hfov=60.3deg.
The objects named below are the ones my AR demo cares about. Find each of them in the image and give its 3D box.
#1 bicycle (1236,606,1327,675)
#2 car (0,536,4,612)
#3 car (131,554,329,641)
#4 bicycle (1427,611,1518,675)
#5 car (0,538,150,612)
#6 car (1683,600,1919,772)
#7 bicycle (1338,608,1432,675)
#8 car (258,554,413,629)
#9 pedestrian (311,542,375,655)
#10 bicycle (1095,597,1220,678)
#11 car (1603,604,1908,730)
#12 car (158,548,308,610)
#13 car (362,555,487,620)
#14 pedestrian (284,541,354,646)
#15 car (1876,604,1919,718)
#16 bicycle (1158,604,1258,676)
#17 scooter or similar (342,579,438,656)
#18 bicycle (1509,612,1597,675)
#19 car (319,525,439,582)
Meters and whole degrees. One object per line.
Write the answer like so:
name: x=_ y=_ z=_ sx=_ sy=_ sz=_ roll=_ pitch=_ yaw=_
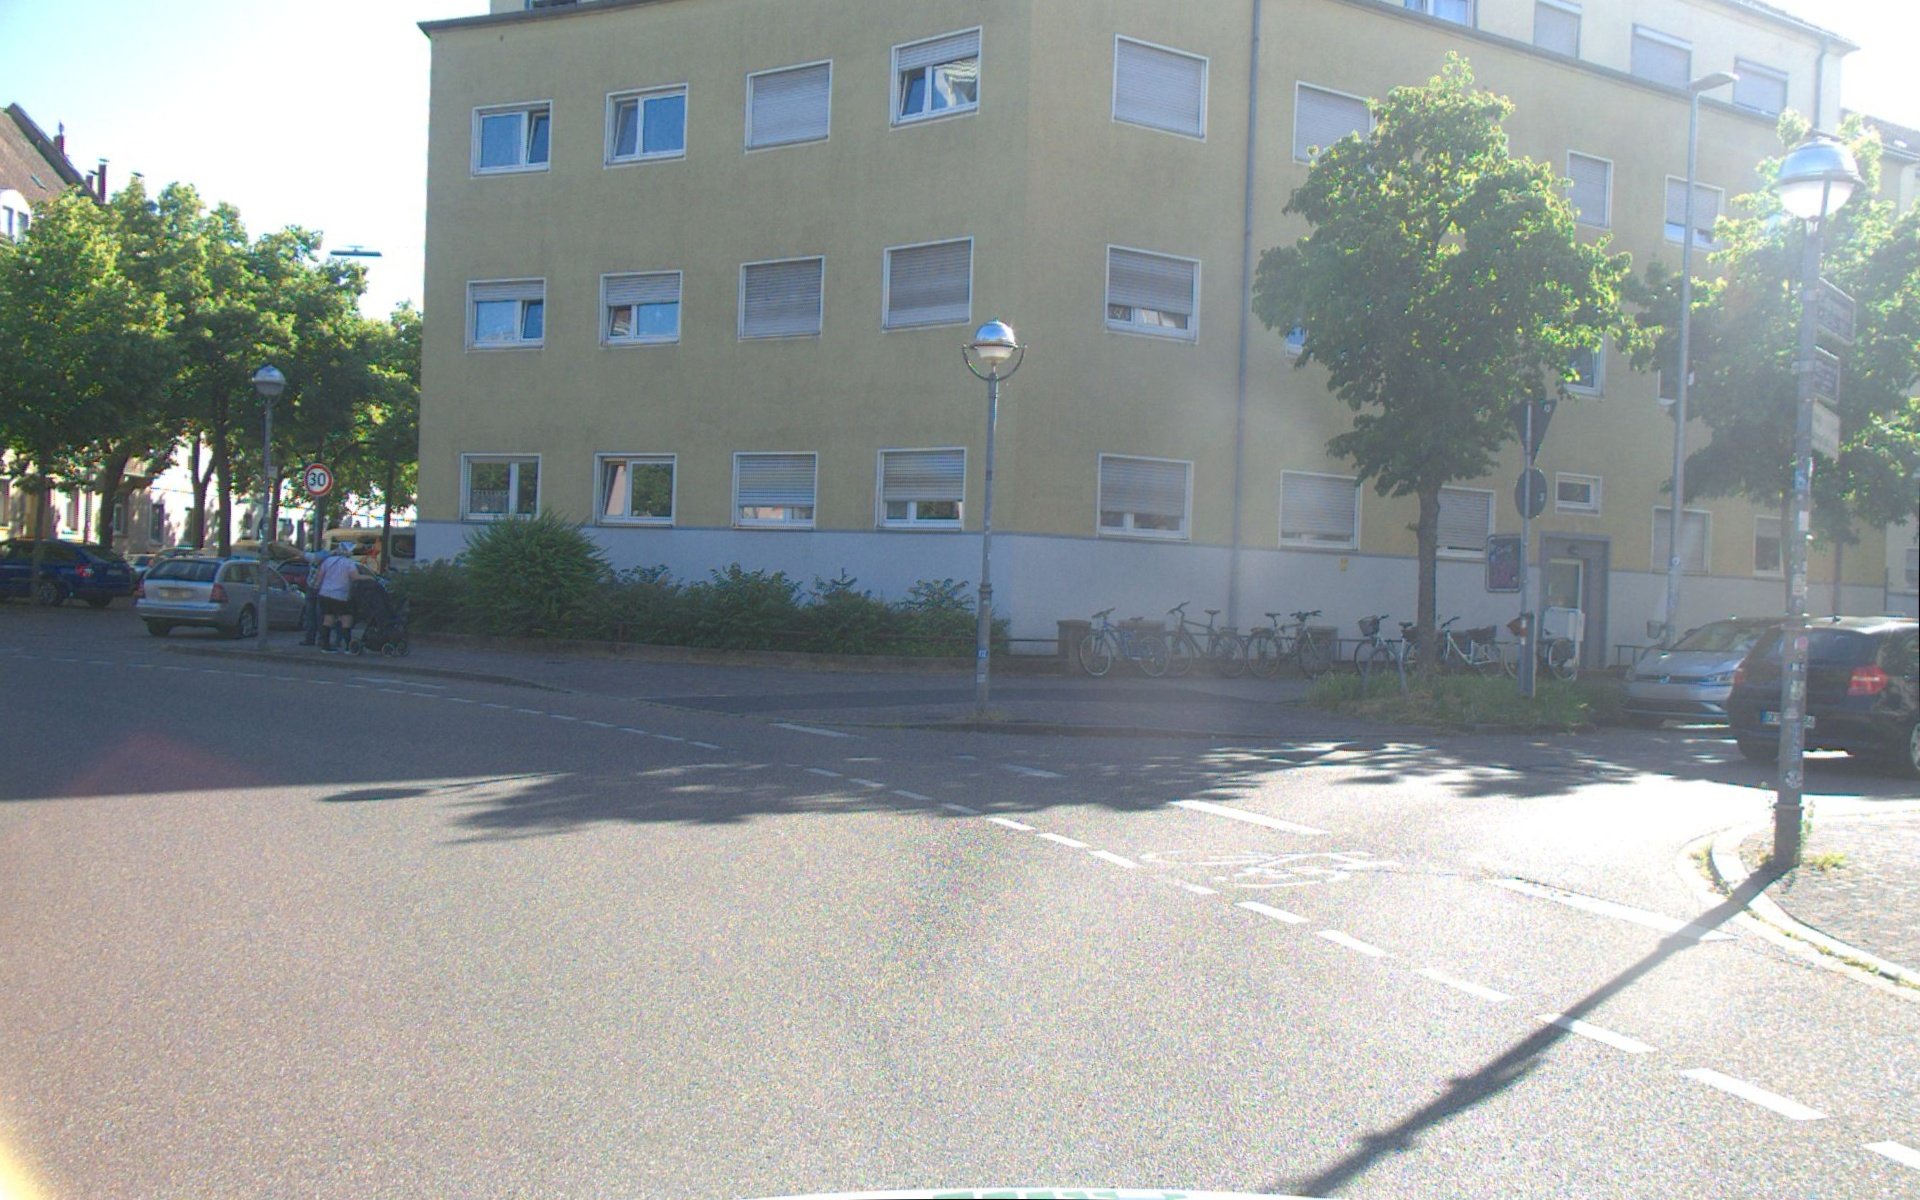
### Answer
bicycle: x=5.019 y=0.631 z=25.800 sx=1.431 sy=1.044 sz=0.495 roll=2 pitch=0 yaw=-32
car: x=-21.595 y=-0.601 z=33.503 sx=3.595 sy=1.573 sz=1.734 roll=2 pitch=0 yaw=13
car: x=-13.369 y=-0.053 z=30.596 sx=1.692 sy=1.436 sz=4.489 roll=2 pitch=0 yaw=-1
bicycle: x=8.632 y=0.722 z=27.839 sx=1.423 sy=1.044 sz=0.497 roll=2 pitch=0 yaw=-19
car: x=-20.601 y=-0.571 z=37.537 sx=3.595 sy=1.573 sz=1.734 roll=2 pitch=0 yaw=8
car: x=9.023 y=0.788 z=15.948 sx=3.947 sy=1.444 sz=1.851 roll=2 pitch=0 yaw=-32
bicycle: x=6.898 y=0.680 z=26.846 sx=1.423 sy=1.044 sz=0.497 roll=2 pitch=0 yaw=-19
car: x=-13.382 y=-0.162 z=35.705 sx=1.694 sy=1.464 sz=4.386 roll=2 pitch=0 yaw=-1
pedestrian: x=-8.601 y=-0.031 z=23.084 sx=0.635 sy=1.550 sz=0.697 roll=0 pitch=1 yaw=-1
bicycle: x=2.893 y=0.548 z=24.342 sx=1.757 sy=1.127 sz=0.500 roll=2 pitch=0 yaw=1
car: x=10.199 y=0.843 z=21.138 sx=3.952 sy=1.436 sz=1.782 roll=2 pitch=0 yaw=-34
car: x=-21.315 y=-0.612 z=48.548 sx=3.595 sy=1.665 sz=1.734 roll=2 pitch=0 yaw=8
car: x=-13.331 y=-0.296 z=41.427 sx=1.694 sy=1.464 sz=4.386 roll=2 pitch=0 yaw=-1
pedestrian: x=-9.653 y=-0.099 z=24.921 sx=0.807 sy=1.550 sz=0.697 roll=0 pitch=1 yaw=-4
car: x=15.345 y=0.927 z=24.231 sx=3.952 sy=1.603 sz=1.779 roll=2 pitch=-1 yaw=-34
bicycle: x=3.752 y=0.601 z=25.046 sx=1.415 sy=1.044 sz=0.500 roll=2 pitch=0 yaw=1
scooter or similar: x=-7.913 y=0.232 z=22.988 sx=0.895 sy=1.041 sz=0.899 roll=0 pitch=1 yaw=19
bicycle: x=10.304 y=0.751 z=28.724 sx=1.423 sy=1.044 sz=0.497 roll=2 pitch=0 yaw=-19
car: x=-21.710 y=-1.741 z=61.776 sx=4.113 sy=2.022 sz=2.166 roll=2 pitch=0 yaw=34
